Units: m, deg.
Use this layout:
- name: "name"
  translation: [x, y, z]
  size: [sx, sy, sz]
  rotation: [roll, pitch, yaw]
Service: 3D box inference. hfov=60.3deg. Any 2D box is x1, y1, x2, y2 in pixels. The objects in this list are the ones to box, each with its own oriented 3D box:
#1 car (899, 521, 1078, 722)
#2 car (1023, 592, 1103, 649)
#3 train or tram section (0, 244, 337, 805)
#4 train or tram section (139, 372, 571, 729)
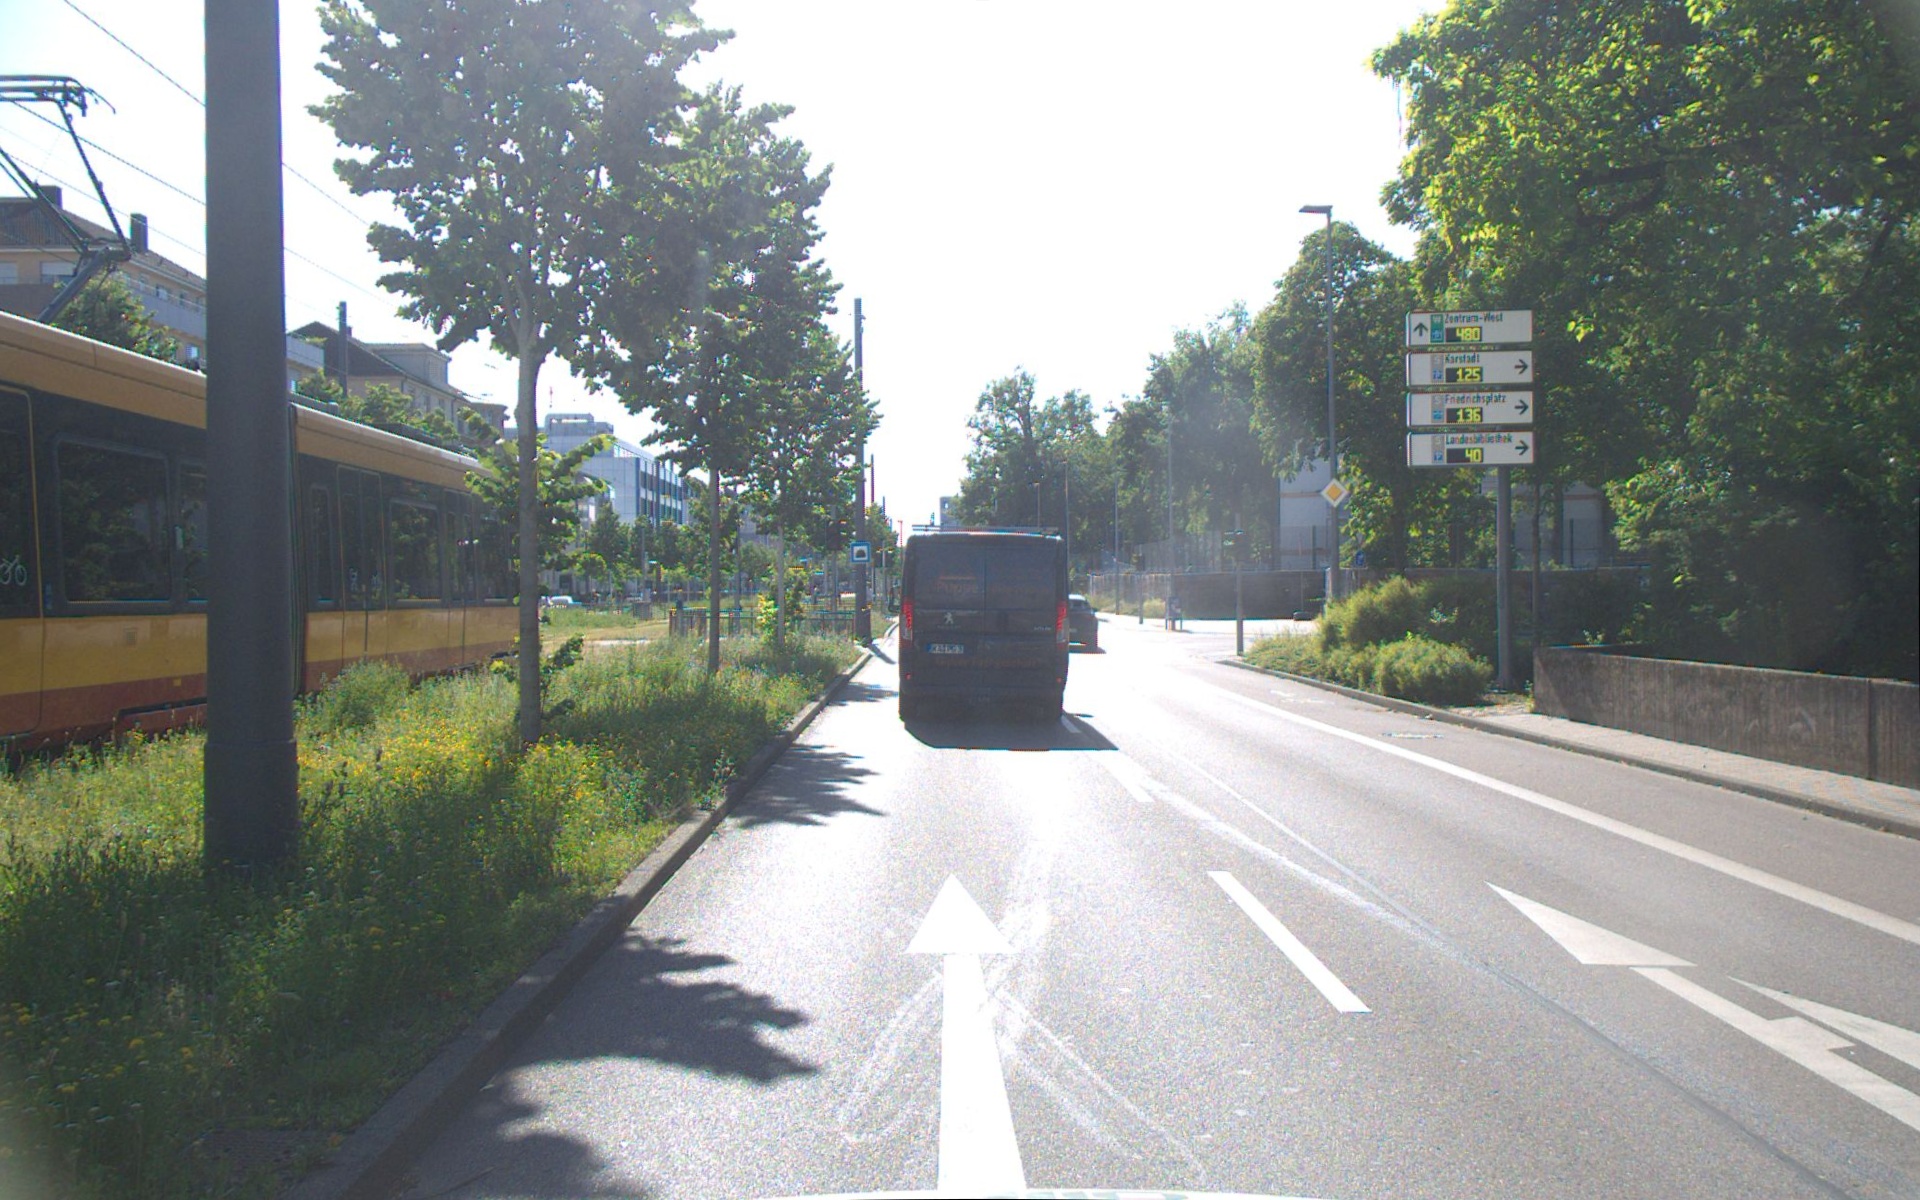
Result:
- name: "car"
  translation: [0.269, 0.242, 20.884]
  size: [2.040, 2.288, 3.999]
  rotation: [0, 0, -2]
- name: "car"
  translation: [2.770, 0.521, 45.154]
  size: [1.728, 1.488, 3.997]
  rotation: [0, 0, -3]
- name: "train or tram section"
  translation: [-7.381, -0.508, 11.715]
  size: [1.953, 3.733, 11.312]
  rotation: [0, 0, -2]
- name: "train or tram section"
  translation: [-7.704, -0.547, 23.158]
  size: [1.953, 3.733, 11.681]
  rotation: [0, 0, -1]
